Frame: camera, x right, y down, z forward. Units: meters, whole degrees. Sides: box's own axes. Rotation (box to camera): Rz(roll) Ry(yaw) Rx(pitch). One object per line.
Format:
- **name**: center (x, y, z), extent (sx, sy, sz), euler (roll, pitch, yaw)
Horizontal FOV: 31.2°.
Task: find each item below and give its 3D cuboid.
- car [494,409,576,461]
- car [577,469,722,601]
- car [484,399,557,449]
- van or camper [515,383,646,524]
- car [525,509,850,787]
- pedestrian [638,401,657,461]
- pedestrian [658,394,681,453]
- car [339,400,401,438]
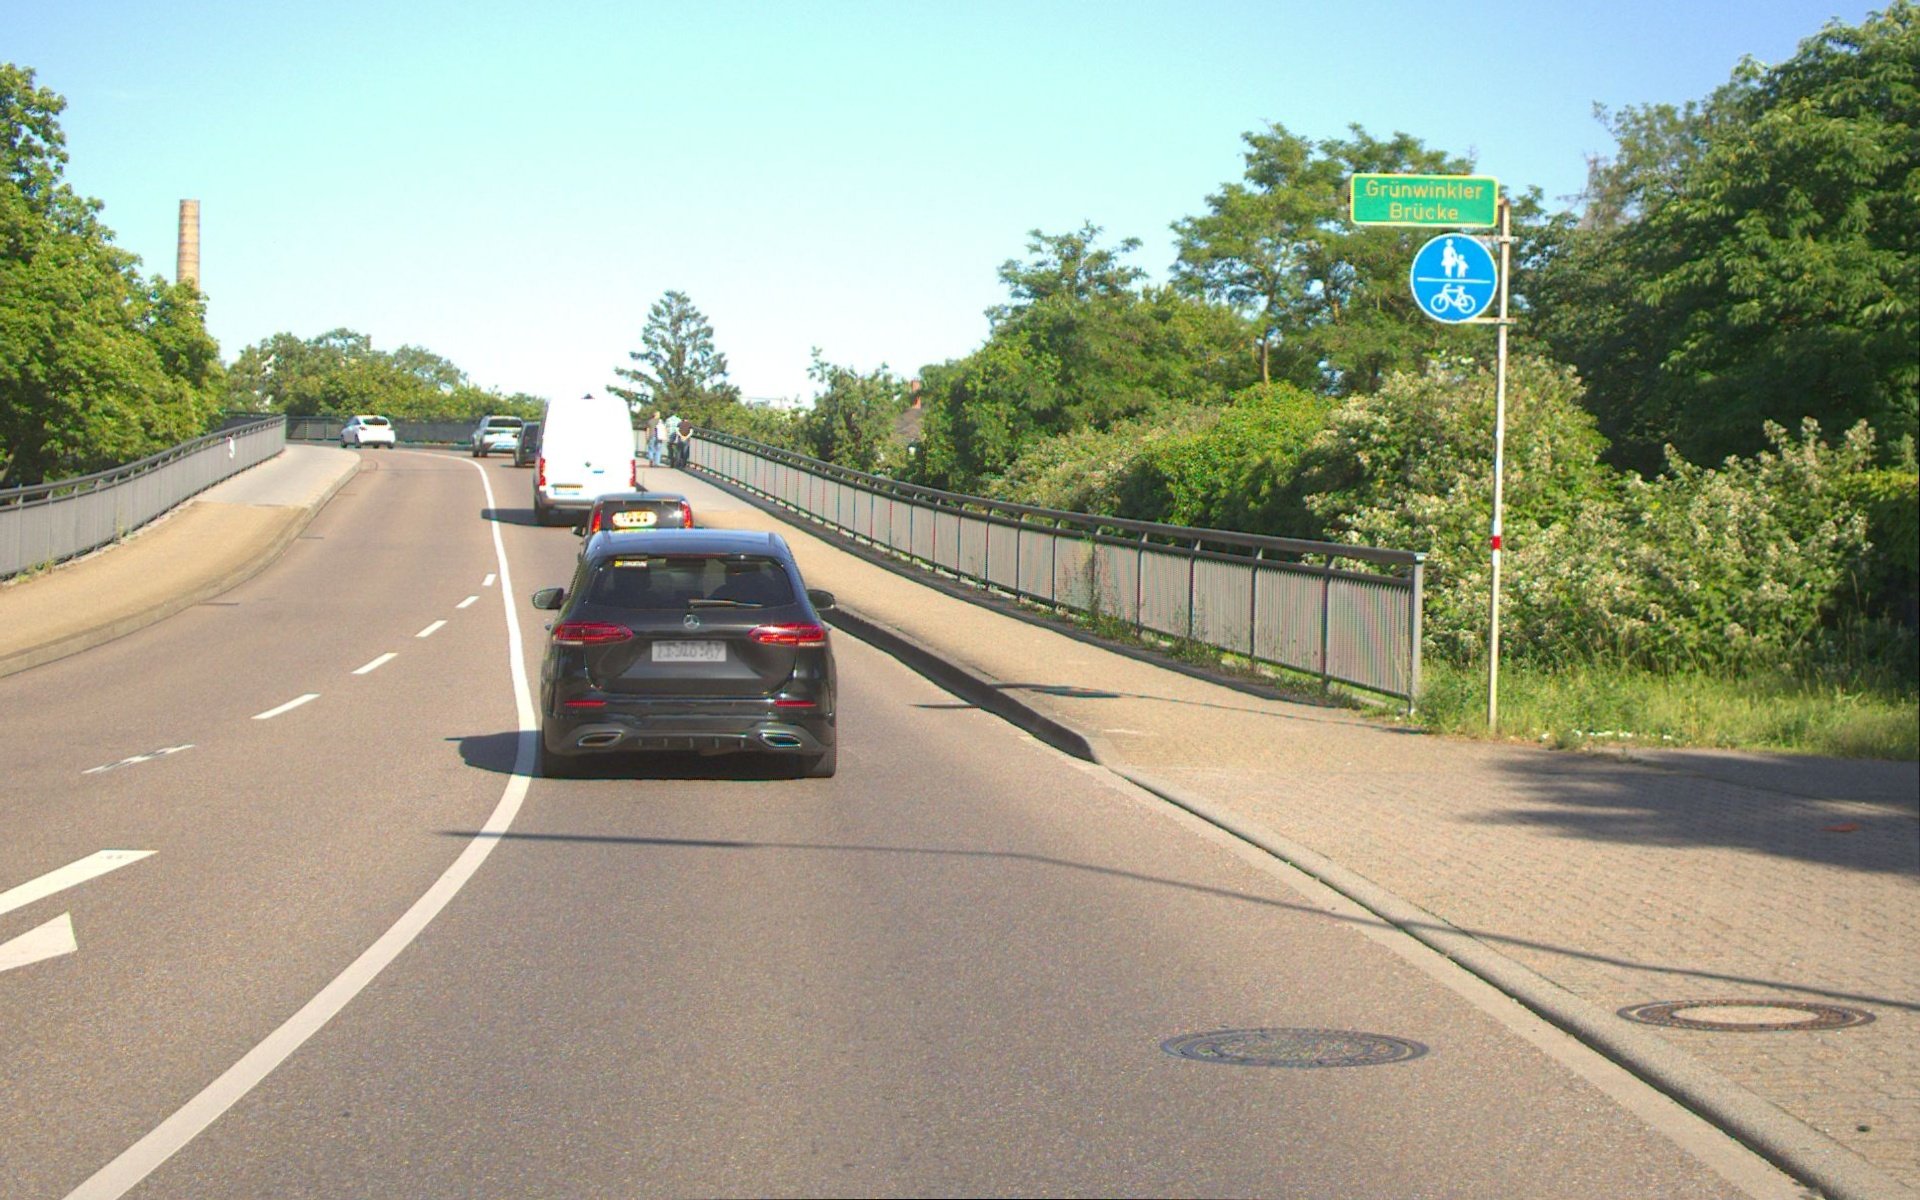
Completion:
- **car**: center (-13.681, -5.300, 110.857), extent (1.918, 1.483, 4.270), euler (0, 0, 3)
- **car**: center (-4.153, -0.836, 45.889), extent (1.804, 1.634, 4.001), euler (2, 0, -5)
- **car**: center (-16.308, -6.538, 127.730), extent (1.994, 1.674, 4.000), euler (0, 0, 3)
- **van or camper**: center (-8.041, -3.026, 72.241), extent (2.225, 2.729, 7.082), euler (2, 1, -10)
- **car**: center (-1.650, 0.242, 21.996), extent (1.769, 1.587, 3.989), euler (1, 1, -1)
- **pedestrian**: center (-9.382, -5.065, 103.118), extent (0.471, 1.744, 0.654), euler (2, 1, -8)
- **pedestrian**: center (-8.748, -5.310, 103.411), extent (0.602, 1.744, 0.717), euler (2, 1, -8)
- **car**: center (-26.545, -8.131, 154.635), extent (1.876, 1.538, 4.001), euler (1, 1, -22)
